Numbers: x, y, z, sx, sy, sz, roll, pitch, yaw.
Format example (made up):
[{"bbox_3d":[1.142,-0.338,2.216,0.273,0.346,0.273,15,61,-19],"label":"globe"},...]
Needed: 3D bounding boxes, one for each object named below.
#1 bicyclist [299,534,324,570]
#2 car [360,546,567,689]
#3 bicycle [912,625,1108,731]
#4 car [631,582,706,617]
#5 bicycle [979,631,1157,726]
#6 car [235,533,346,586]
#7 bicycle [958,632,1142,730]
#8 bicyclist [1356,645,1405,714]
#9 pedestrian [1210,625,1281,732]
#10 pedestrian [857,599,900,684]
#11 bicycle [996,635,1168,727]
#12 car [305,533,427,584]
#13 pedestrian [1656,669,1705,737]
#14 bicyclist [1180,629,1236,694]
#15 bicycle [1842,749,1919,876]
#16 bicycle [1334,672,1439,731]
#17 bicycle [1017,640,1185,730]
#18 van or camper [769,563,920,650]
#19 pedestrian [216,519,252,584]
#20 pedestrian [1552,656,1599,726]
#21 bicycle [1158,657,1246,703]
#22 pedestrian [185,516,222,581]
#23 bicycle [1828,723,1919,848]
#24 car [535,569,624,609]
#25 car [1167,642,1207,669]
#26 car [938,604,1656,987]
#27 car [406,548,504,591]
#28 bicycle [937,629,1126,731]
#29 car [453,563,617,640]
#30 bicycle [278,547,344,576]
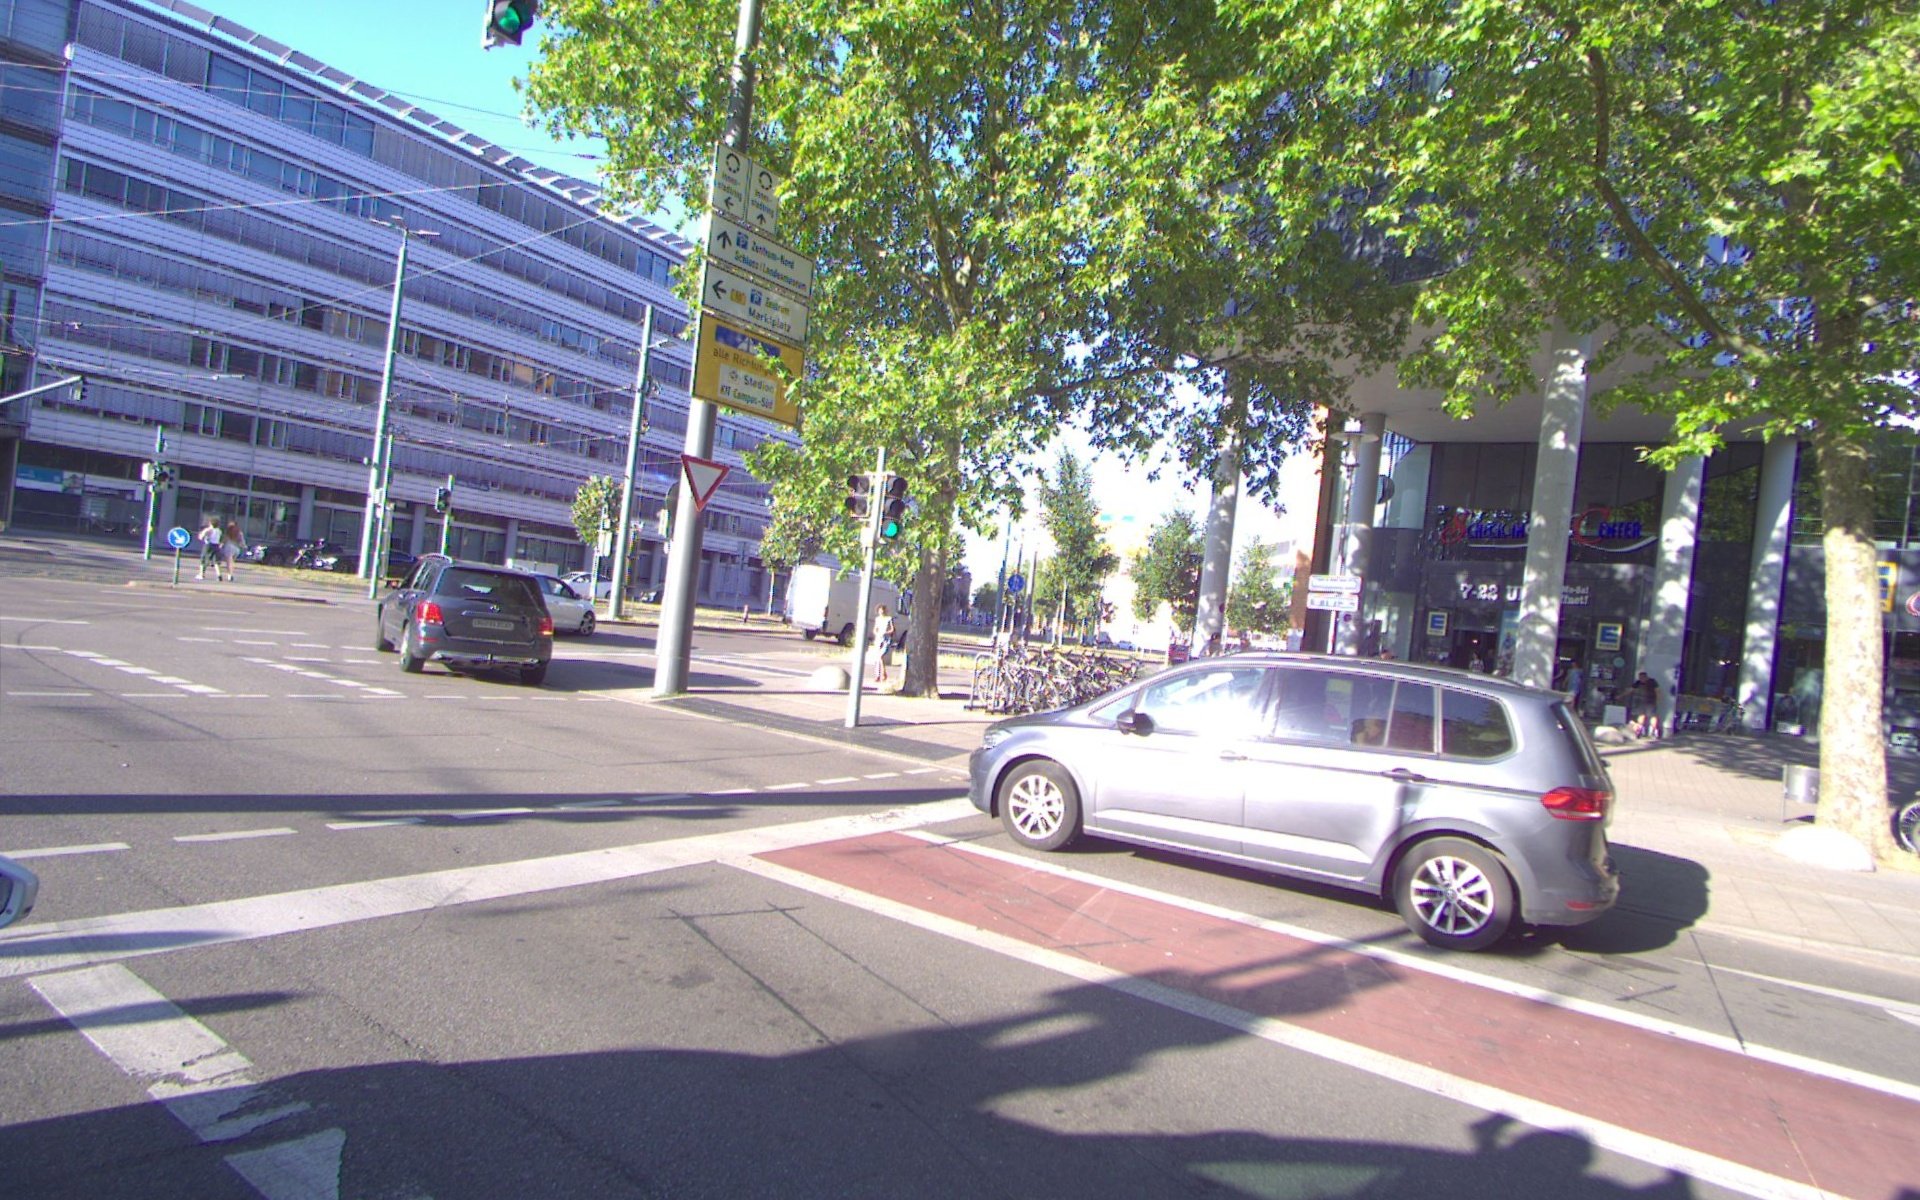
[{"bbox_3d":[-29.631,-2.192,45.956,0.604,1.521,0.663,7,1,37],"label":"bicyclist"},{"bbox_3d":[-7.481,0.183,14.931,1.757,1.655,4.205,8,-2,-39],"label":"car"},{"bbox_3d":[0.729,1.165,15.391,2.896,1.252,0.705,6,-2,31],"label":"bicycle"},{"bbox_3d":[-17.980,-0.026,62.239,1.852,1.614,4.121,6,-3,35],"label":"car"},{"bbox_3d":[1.813,1.325,17.266,2.896,1.251,0.705,6,-3,31],"label":"bicycle"},{"bbox_3d":[-33.439,-1.993,50.327,1.967,2.036,3.995,6,-3,32],"label":"car"},{"bbox_3d":[1.450,1.314,16.636,2.896,1.252,0.705,6,-2,31],"label":"bicycle"},{"bbox_3d":[9.665,1.829,23.139,0.586,1.504,0.744,4,1,-34],"label":"bicyclist"},{"bbox_3d":[5.439,1.489,19.189,0.800,1.913,0.871,5,1,-16],"label":"pedestrian"},{"bbox_3d":[-1.652,0.837,20.378,0.523,1.644,0.543,6,1,19],"label":"pedestrian"},{"bbox_3d":[2.143,1.422,17.925,2.896,1.252,0.705,6,-2,31],"label":"bicycle"},{"bbox_3d":[-26.802,-1.847,45.533,1.854,1.744,4.256,6,-1,34],"label":"car"},{"bbox_3d":[20.072,2.876,28.043,0.641,1.765,0.828,6,1,-40],"label":"pedestrian"},{"bbox_3d":[6.522,1.621,26.481,1.016,1.585,0.804,5,-1,42],"label":"bicyclist"},{"bbox_3d":[11.354,2.383,10.001,3.760,1.234,0.756,4,-3,38],"label":"bicycle"},{"bbox_3d":[9.713,2.301,23.016,0.595,1.028,2.176,4,1,-34],"label":"bicycle"},{"bbox_3d":[2.565,1.539,18.536,2.896,1.250,0.698,6,-4,31],"label":"bicycle"},{"bbox_3d":[-4.133,0.341,37.482,1.972,2.646,6.489,6,-1,29],"label":"van or camper"},{"bbox_3d":[-21.189,-1.416,29.370,0.679,1.780,0.735,6,1,-35],"label":"pedestrian"},{"bbox_3d":[19.170,2.838,31.338,0.818,2.037,0.825,7,-2,-33],"label":"pedestrian"},{"bbox_3d":[6.372,2.095,26.559,2.072,0.964,0.744,6,1,42],"label":"bicycle"},{"bbox_3d":[-21.746,-1.485,28.929,0.673,1.780,0.735,6,1,-35],"label":"pedestrian"},{"bbox_3d":[11.759,2.304,10.609,3.758,1.235,0.727,10,1,38],"label":"bicycle"},{"bbox_3d":[-20.472,-0.563,54.278,1.852,1.614,3.991,6,-3,35],"label":"car"},{"bbox_3d":[15.289,3.742,67.720,1.470,1.476,3.592,6,-2,31],"label":"car"},{"bbox_3d":[2.199,1.133,7.232,4.316,1.655,1.709,6,-1,30],"label":"car"},{"bbox_3d":[-25.797,-1.527,51.456,1.770,1.569,3.990,5,-3,37],"label":"car"},{"bbox_3d":[1.093,1.241,16.023,2.896,1.243,0.686,6,-2,31],"label":"bicycle"},{"bbox_3d":[-9.975,0.098,23.953,1.609,1.445,3.991,7,-2,9],"label":"car"},{"bbox_3d":[-29.664,-1.740,45.991,0.627,1.035,2.409,6,0,36],"label":"bicycle"}]
